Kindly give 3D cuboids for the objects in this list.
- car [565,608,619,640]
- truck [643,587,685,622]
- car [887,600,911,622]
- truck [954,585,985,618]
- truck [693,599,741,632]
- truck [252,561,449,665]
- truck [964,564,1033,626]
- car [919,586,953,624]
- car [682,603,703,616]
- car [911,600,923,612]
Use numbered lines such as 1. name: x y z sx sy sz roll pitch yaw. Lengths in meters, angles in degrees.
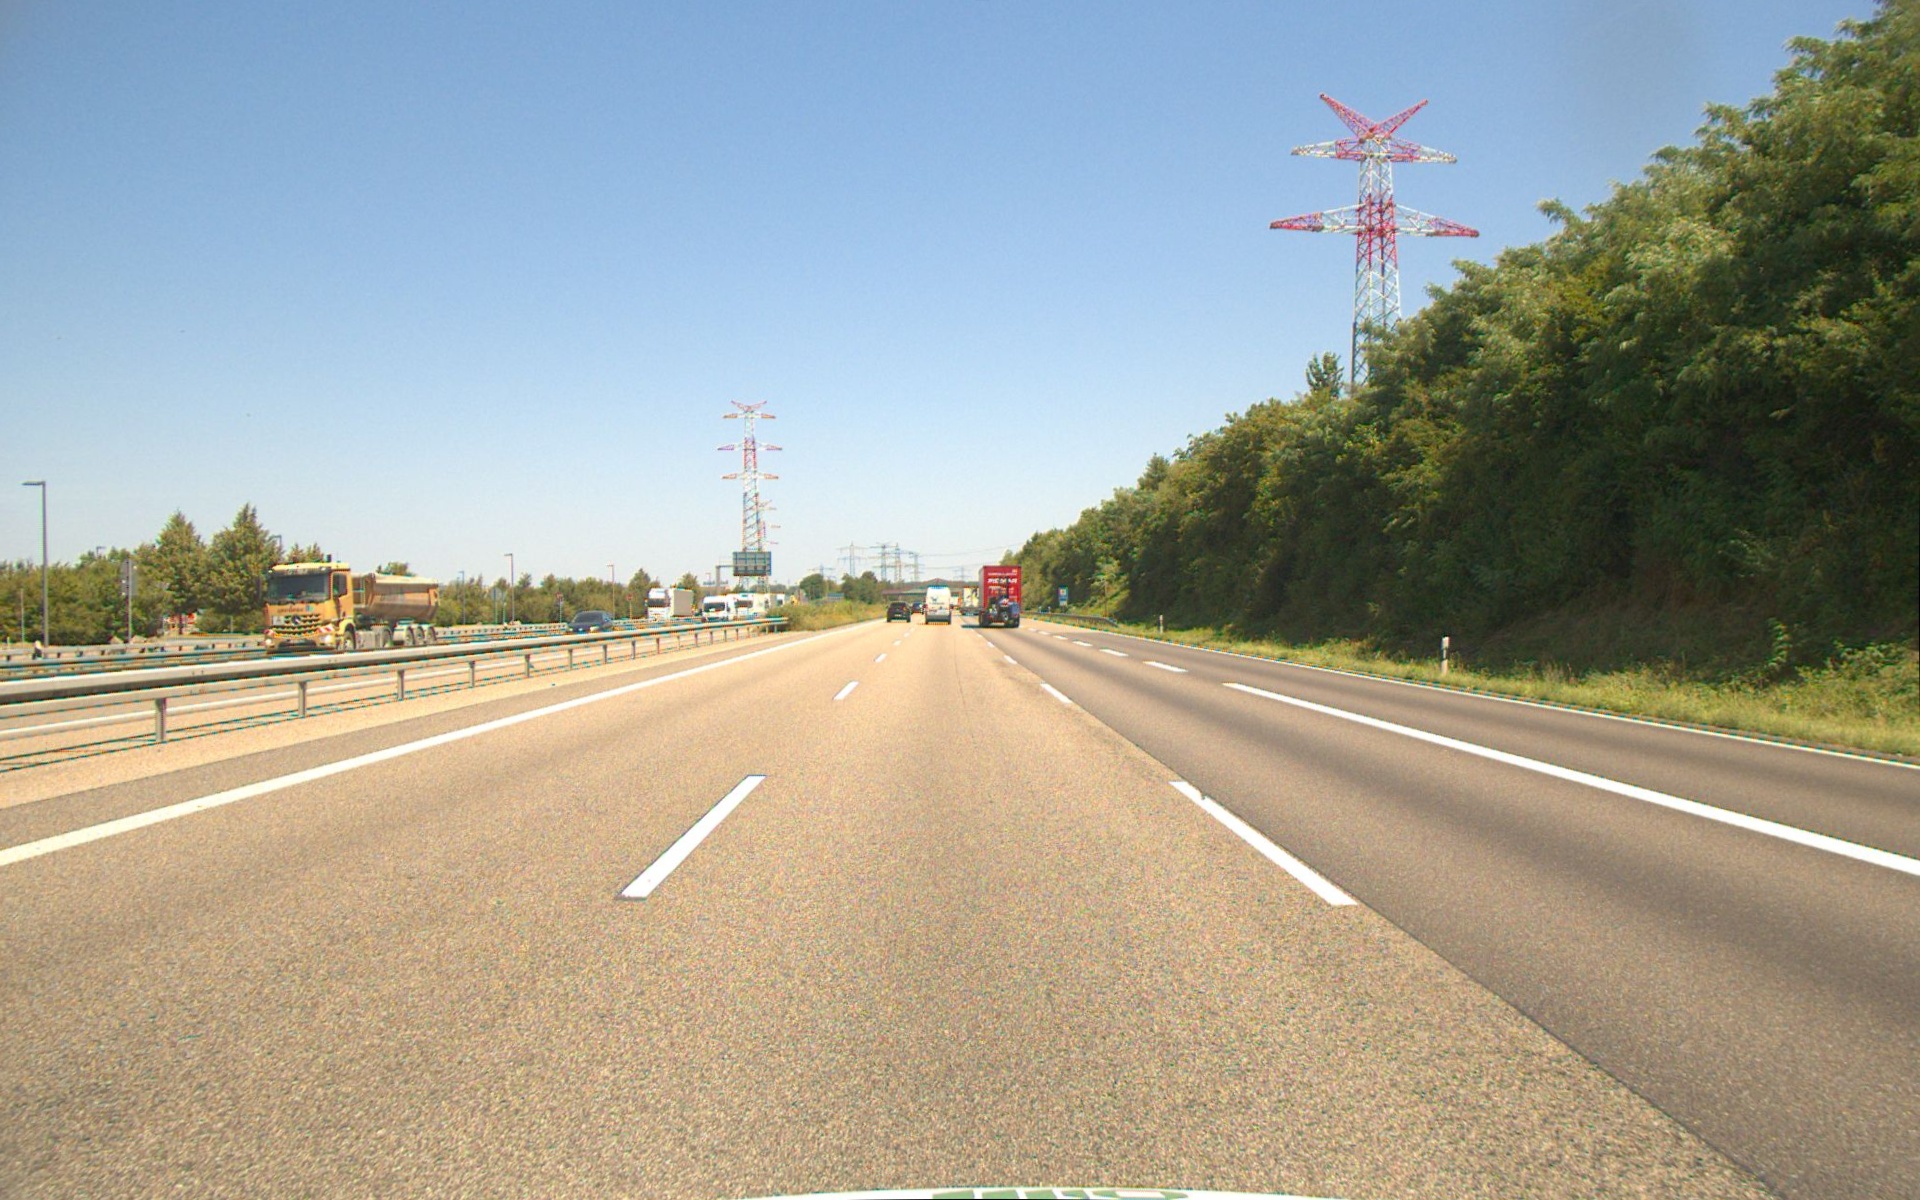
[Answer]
1. car: -17.405 1.101 78.376 1.779 1.415 3.902 -1 0 -2
2. truck: -33.560 0.476 188.035 2.662 3.782 12.386 -1 0 -1
3. car: -5.159 0.928 139.729 1.953 1.780 3.999 0 0 -2
4. truck: 1.342 0.204 241.293 4.243 4.603 16.074 0 0 -1
5. truck: -19.280 1.223 131.565 2.662 2.464 8.105 -1 0 -1
6. truck: -21.676 0.432 59.850 2.662 3.316 12.386 -1 0 -1
7. truck: 2.514 -0.393 115.663 4.243 4.010 16.074 0 0 -1
8. car: -1.852 0.360 127.874 2.568 2.807 6.094 0 0 -1
9. car: -29.878 1.043 185.096 1.779 1.415 3.902 -1 0 -2
10. car: -6.370 0.862 246.504 1.712 1.662 4.002 0 0 -1
